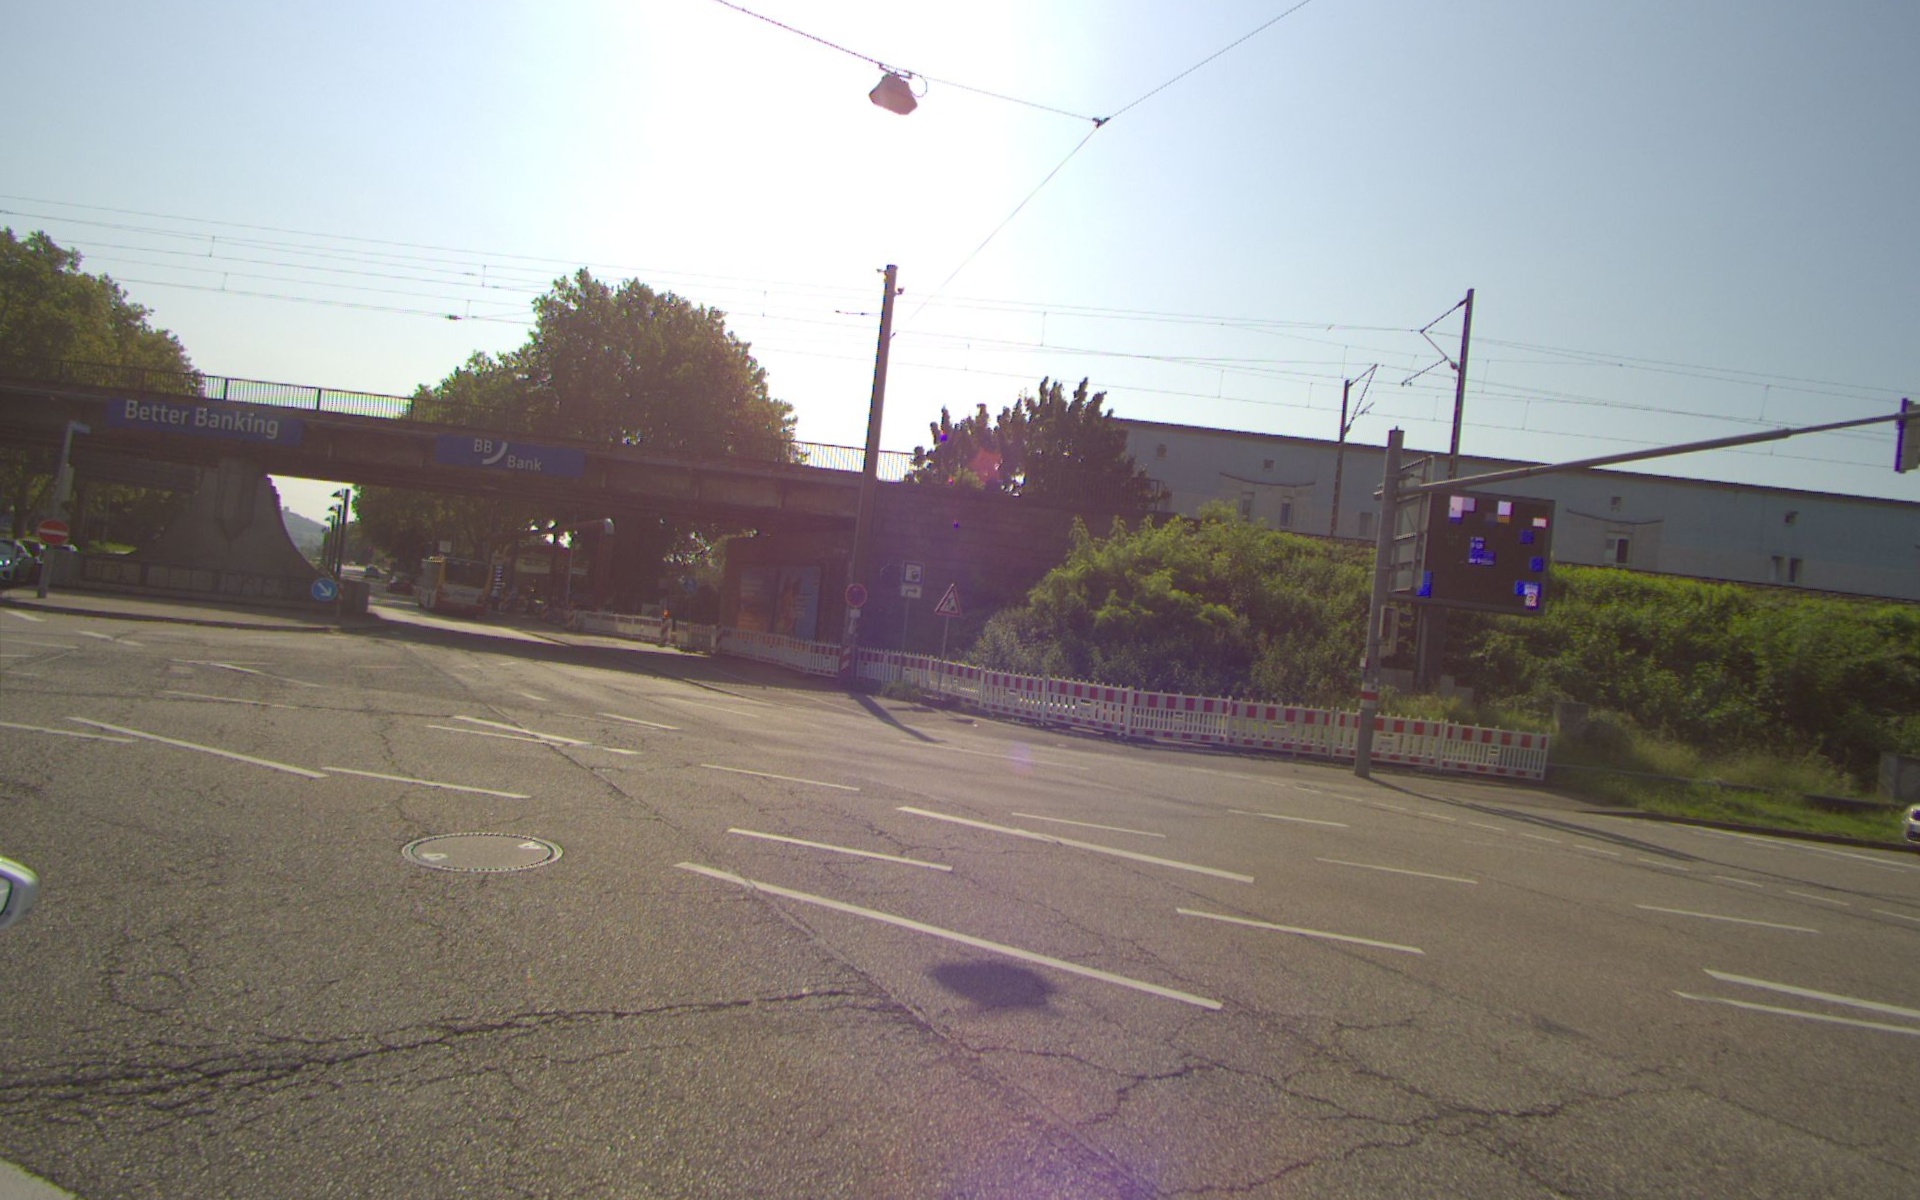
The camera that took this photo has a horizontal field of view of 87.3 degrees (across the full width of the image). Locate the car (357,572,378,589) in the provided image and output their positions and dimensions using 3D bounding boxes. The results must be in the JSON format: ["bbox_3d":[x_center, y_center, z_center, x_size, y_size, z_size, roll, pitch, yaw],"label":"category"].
[{"bbox_3d":[-86.685,-2.883,147.115,1.985,2.035,3.963,10,-4,-36],"label":"car"}]

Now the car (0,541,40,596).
[{"bbox_3d":[-29.181,-1.024,30.278,1.711,1.557,3.661,6,-2,-36],"label":"car"}]

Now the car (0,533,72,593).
[{"bbox_3d":[-31.795,-1.286,34.103,1.984,1.592,4.304,8,-1,-36],"label":"car"}]

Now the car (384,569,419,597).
[{"bbox_3d":[-48.595,-1.461,87.474,1.985,2.035,3.963,10,-4,-36],"label":"car"}]

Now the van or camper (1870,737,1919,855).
[{"bbox_3d":[17.104,3.376,15.587,4.097,1.795,1.855,8,-3,3],"label":"van or camper"}]

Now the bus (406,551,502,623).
[{"bbox_3d":[-29.319,-0.803,57.909,3.121,3.143,12.188,13,-6,-32],"label":"bus"}]
